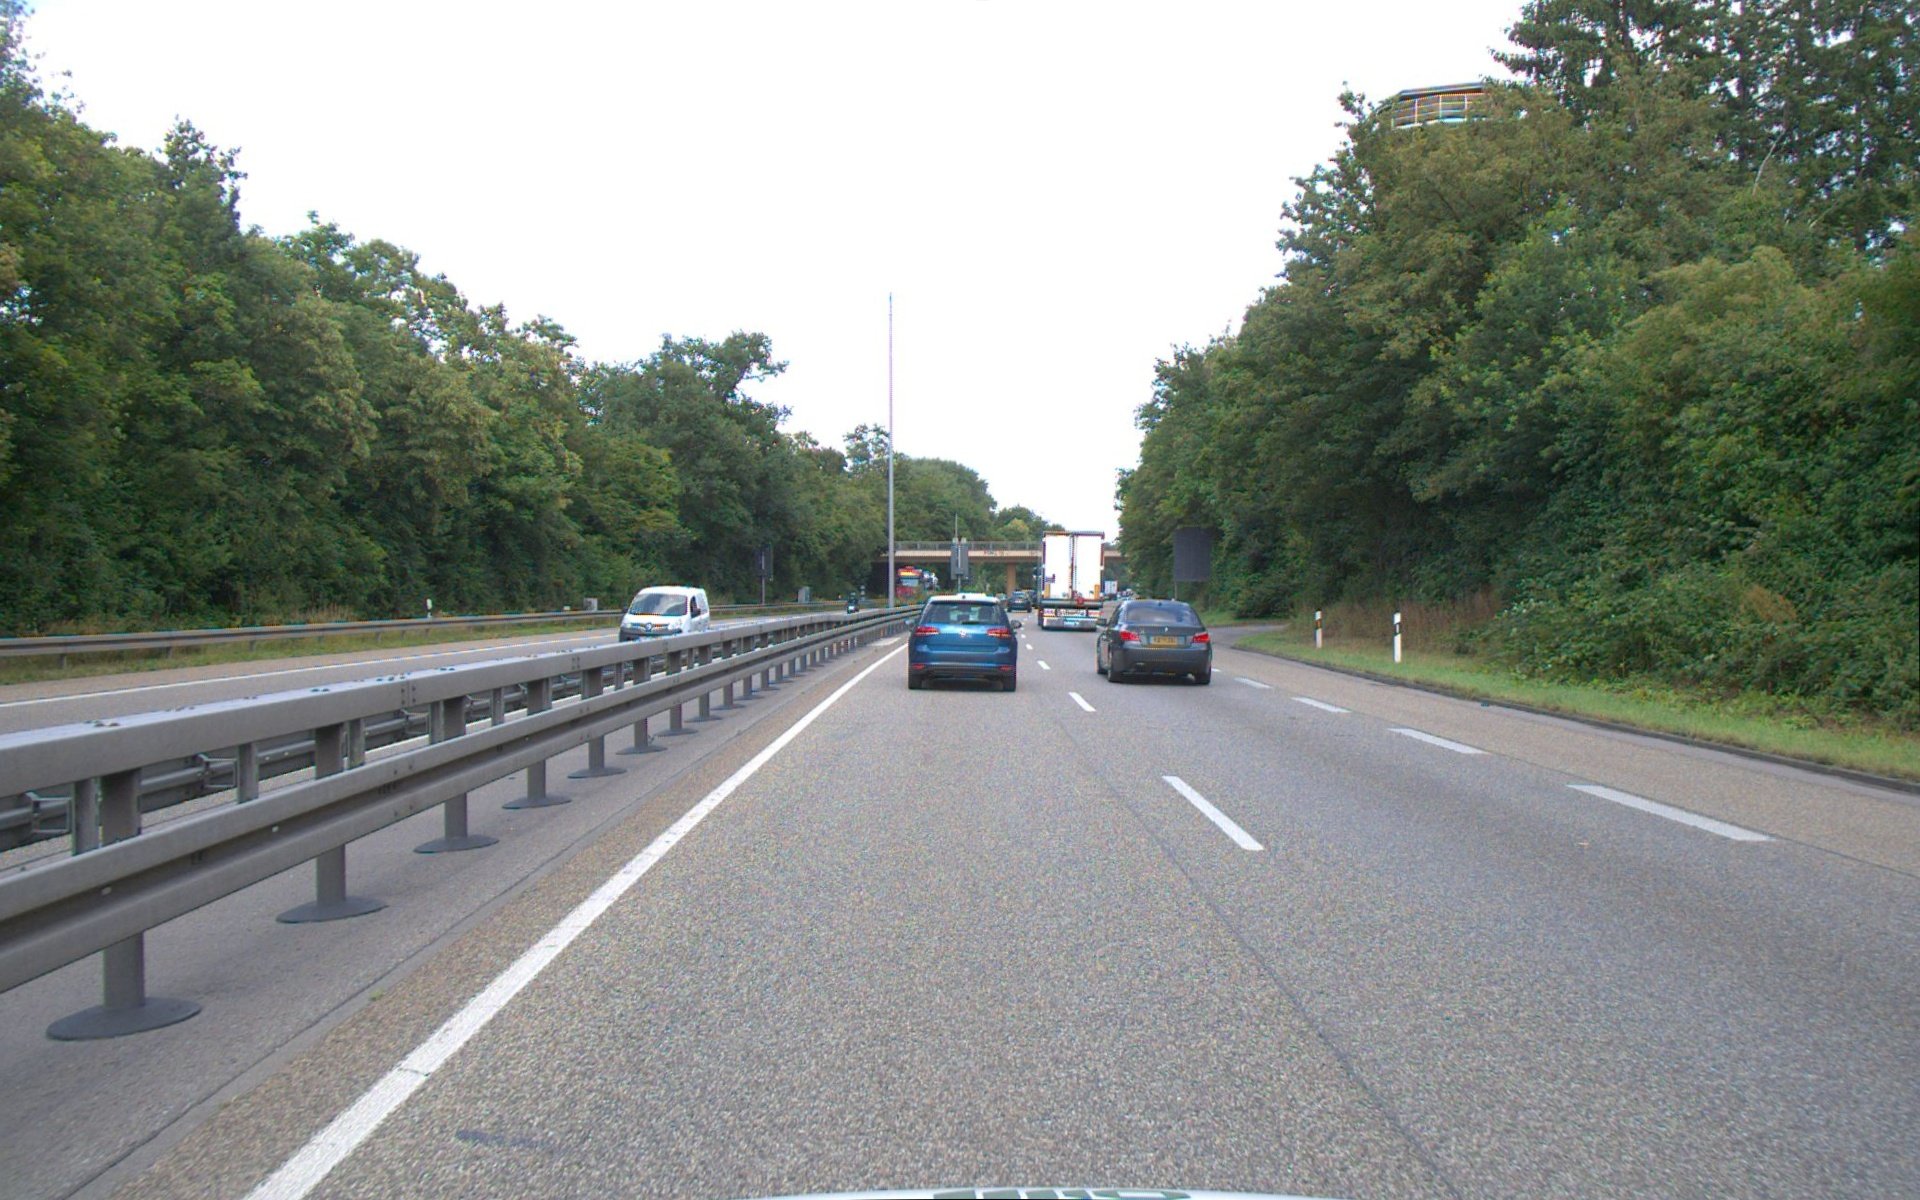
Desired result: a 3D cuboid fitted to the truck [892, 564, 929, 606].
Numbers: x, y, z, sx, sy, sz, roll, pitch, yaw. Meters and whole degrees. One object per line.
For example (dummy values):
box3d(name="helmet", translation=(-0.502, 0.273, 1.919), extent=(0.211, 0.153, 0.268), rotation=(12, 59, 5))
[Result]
box3d(name="truck", translation=(-4.845, -1.431, 163.280), extent=(2.893, 3.923, 10.327), rotation=(-1, 0, 2))

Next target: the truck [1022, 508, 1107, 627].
box3d(name="truck", translation=(4.445, -1.339, 72.370), extent=(3.175, 4.798, 11.008), rotation=(0, 0, 1))

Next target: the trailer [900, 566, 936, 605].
box3d(name="trailer", translation=(-4.371, -1.466, 173.575), extent=(2.876, 3.900, 10.314), rotation=(-1, 0, 3))

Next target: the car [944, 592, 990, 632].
box3d(name="car", translation=(0.300, 0.454, 65.303), extent=(1.631, 1.526, 4.153), rotation=(1, 0, 2))

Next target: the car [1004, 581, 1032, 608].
box3d(name="car", translation=(4.437, -0.428, 126.504), extent=(1.913, 2.049, 4.002), rotation=(0, 0, 5))

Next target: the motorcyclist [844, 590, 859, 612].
box3d(name="motorcyclist", translation=(-6.022, 0.051, 91.805), extent=(0.808, 1.247, 0.720), rotation=(0, 0, 0))

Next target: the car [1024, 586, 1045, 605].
box3d(name="car", translation=(6.874, -0.427, 152.922), extent=(1.729, 1.803, 4.026), rotation=(0, 0, 5))

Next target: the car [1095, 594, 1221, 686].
box3d(name="car", translation=(3.542, 0.661, 30.361), extent=(1.738, 1.501, 4.881), rotation=(1, 0, 1))

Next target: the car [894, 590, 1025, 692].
box3d(name="car", translation=(0.066, 0.616, 26.957), extent=(1.669, 1.495, 4.003), rotation=(1, 0, 6))

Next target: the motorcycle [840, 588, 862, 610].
box3d(name="motorcycle", translation=(-6.054, -0.047, 92.177), extent=(0.979, 1.222, 2.998), rotation=(0, 0, 0))

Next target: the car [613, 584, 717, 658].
box3d(name="car", translation=(-7.769, 0.504, 44.087), extent=(1.807, 1.850, 5.478), rotation=(0, 0, 0))
